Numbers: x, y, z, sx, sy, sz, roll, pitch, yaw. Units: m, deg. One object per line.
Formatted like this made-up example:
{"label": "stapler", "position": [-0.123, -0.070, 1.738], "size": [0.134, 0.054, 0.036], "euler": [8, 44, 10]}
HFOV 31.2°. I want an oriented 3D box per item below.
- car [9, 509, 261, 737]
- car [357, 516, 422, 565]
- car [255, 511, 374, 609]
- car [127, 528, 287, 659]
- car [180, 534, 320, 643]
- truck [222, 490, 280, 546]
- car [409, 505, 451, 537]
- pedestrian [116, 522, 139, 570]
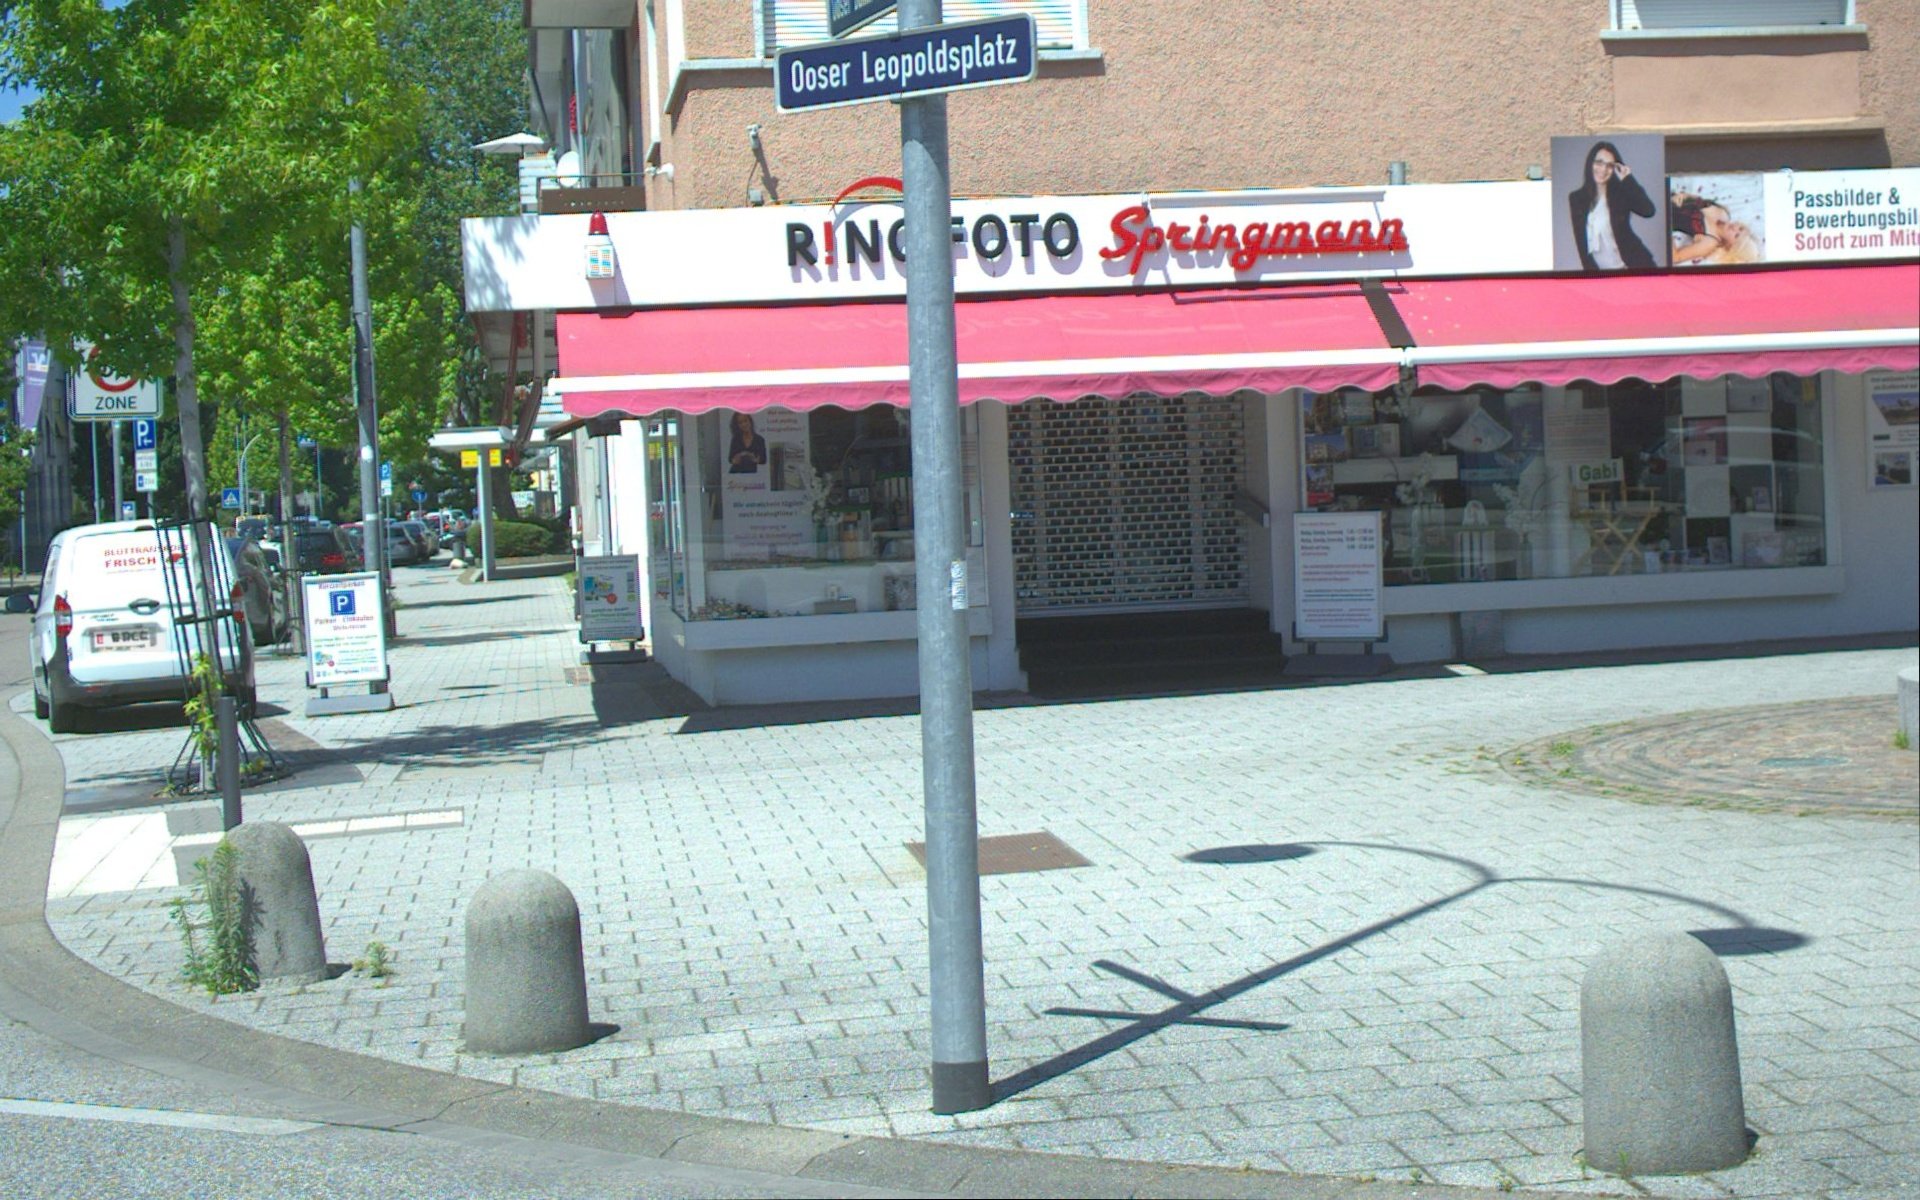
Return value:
{"label": "car", "position": [-7.218, 0.151, 29.831], "size": [1.747, 1.718, 3.911], "euler": [-5, 2, -17]}
{"label": "car", "position": [-20.031, -2.111, 120.799], "size": [1.976, 1.445, 4.350], "euler": [-4, 3, -7]}
{"label": "car", "position": [-13.948, -0.897, 74.473], "size": [1.993, 1.792, 4.570], "euler": [-4, 4, -5]}
{"label": "car", "position": [-11.144, -0.144, 51.129], "size": [1.764, 1.700, 4.707], "euler": [-4, 2, -7]}
{"label": "car", "position": [-11.624, -0.219, 56.495], "size": [1.722, 1.578, 4.226], "euler": [-4, 2, -5]}
{"label": "truck", "position": [-29.528, -3.442, 143.256], "size": [1.804, 2.110, 4.716], "euler": [-4, 3, -6]}
{"label": "car", "position": [-27.321, -4.069, 177.266], "size": [1.950, 1.471, 4.139], "euler": [-4, 2, -8]}
{"label": "pedestrian", "position": [-27.828, -1.810, 114.940], "size": [0.587, 1.569, 0.781], "euler": [-3, 2, -8]}
